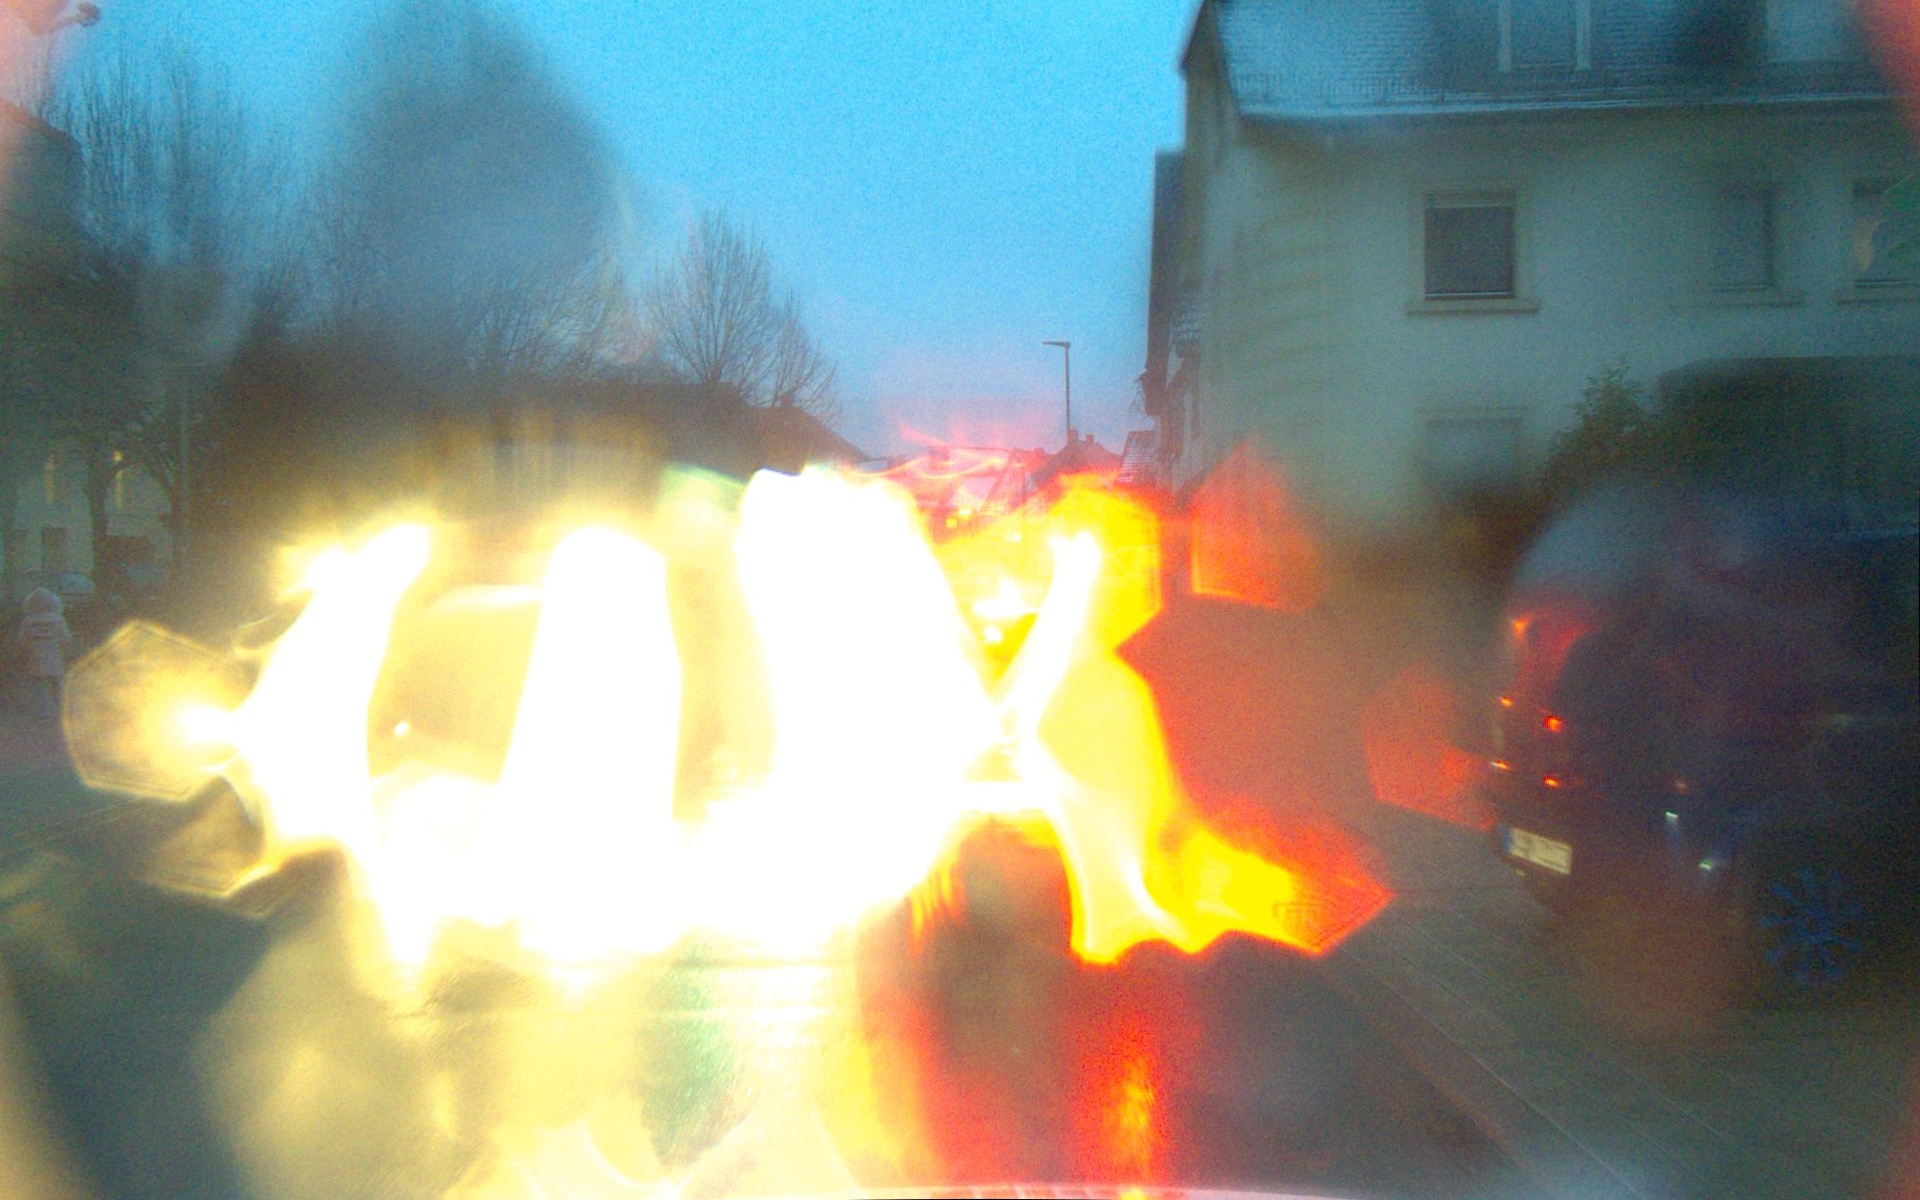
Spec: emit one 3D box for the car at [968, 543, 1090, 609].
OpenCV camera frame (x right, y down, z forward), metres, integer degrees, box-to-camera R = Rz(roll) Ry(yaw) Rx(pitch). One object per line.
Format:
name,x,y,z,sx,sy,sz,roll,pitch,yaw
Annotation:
car,2.365,-0.820,56.131,4.010,2.189,1.915,0,1,6

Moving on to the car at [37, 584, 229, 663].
car,-19.429,0.522,38.882,3.903,1.760,1.820,0,1,19

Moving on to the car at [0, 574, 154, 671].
car,-19.840,0.459,36.078,3.903,2.023,1.820,0,1,19

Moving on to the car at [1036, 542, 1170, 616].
car,4.395,-0.658,50.800,4.010,2.200,1.915,0,1,6

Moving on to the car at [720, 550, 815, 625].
car,-4.416,-0.324,38.541,1.774,1.624,4.399,-1,1,-1

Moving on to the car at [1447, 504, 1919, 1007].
car,4.047,0.451,6.390,3.795,1.607,1.680,-2,1,-6

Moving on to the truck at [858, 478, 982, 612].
truck,-1.159,-1.378,43.386,2.955,3.183,7.996,0,1,-3

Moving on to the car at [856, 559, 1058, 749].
car,-0.095,0.392,14.805,1.605,1.507,3.270,0,1,-3

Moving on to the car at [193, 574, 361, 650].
car,-18.212,0.299,44.160,3.903,1.944,1.820,0,1,19

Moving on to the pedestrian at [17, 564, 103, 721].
pedestrian,-8.772,0.391,16.117,0.643,1.484,0.641,-1,1,-37

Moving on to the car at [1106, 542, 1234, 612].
car,6.725,-0.746,53.127,4.010,2.189,1.915,0,1,6

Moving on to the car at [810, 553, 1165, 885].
car,0.105,0.519,9.193,1.604,1.507,3.378,0,1,-1

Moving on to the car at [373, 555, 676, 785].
car,-3.252,0.442,12.964,1.605,1.562,3.405,0,1,-3
